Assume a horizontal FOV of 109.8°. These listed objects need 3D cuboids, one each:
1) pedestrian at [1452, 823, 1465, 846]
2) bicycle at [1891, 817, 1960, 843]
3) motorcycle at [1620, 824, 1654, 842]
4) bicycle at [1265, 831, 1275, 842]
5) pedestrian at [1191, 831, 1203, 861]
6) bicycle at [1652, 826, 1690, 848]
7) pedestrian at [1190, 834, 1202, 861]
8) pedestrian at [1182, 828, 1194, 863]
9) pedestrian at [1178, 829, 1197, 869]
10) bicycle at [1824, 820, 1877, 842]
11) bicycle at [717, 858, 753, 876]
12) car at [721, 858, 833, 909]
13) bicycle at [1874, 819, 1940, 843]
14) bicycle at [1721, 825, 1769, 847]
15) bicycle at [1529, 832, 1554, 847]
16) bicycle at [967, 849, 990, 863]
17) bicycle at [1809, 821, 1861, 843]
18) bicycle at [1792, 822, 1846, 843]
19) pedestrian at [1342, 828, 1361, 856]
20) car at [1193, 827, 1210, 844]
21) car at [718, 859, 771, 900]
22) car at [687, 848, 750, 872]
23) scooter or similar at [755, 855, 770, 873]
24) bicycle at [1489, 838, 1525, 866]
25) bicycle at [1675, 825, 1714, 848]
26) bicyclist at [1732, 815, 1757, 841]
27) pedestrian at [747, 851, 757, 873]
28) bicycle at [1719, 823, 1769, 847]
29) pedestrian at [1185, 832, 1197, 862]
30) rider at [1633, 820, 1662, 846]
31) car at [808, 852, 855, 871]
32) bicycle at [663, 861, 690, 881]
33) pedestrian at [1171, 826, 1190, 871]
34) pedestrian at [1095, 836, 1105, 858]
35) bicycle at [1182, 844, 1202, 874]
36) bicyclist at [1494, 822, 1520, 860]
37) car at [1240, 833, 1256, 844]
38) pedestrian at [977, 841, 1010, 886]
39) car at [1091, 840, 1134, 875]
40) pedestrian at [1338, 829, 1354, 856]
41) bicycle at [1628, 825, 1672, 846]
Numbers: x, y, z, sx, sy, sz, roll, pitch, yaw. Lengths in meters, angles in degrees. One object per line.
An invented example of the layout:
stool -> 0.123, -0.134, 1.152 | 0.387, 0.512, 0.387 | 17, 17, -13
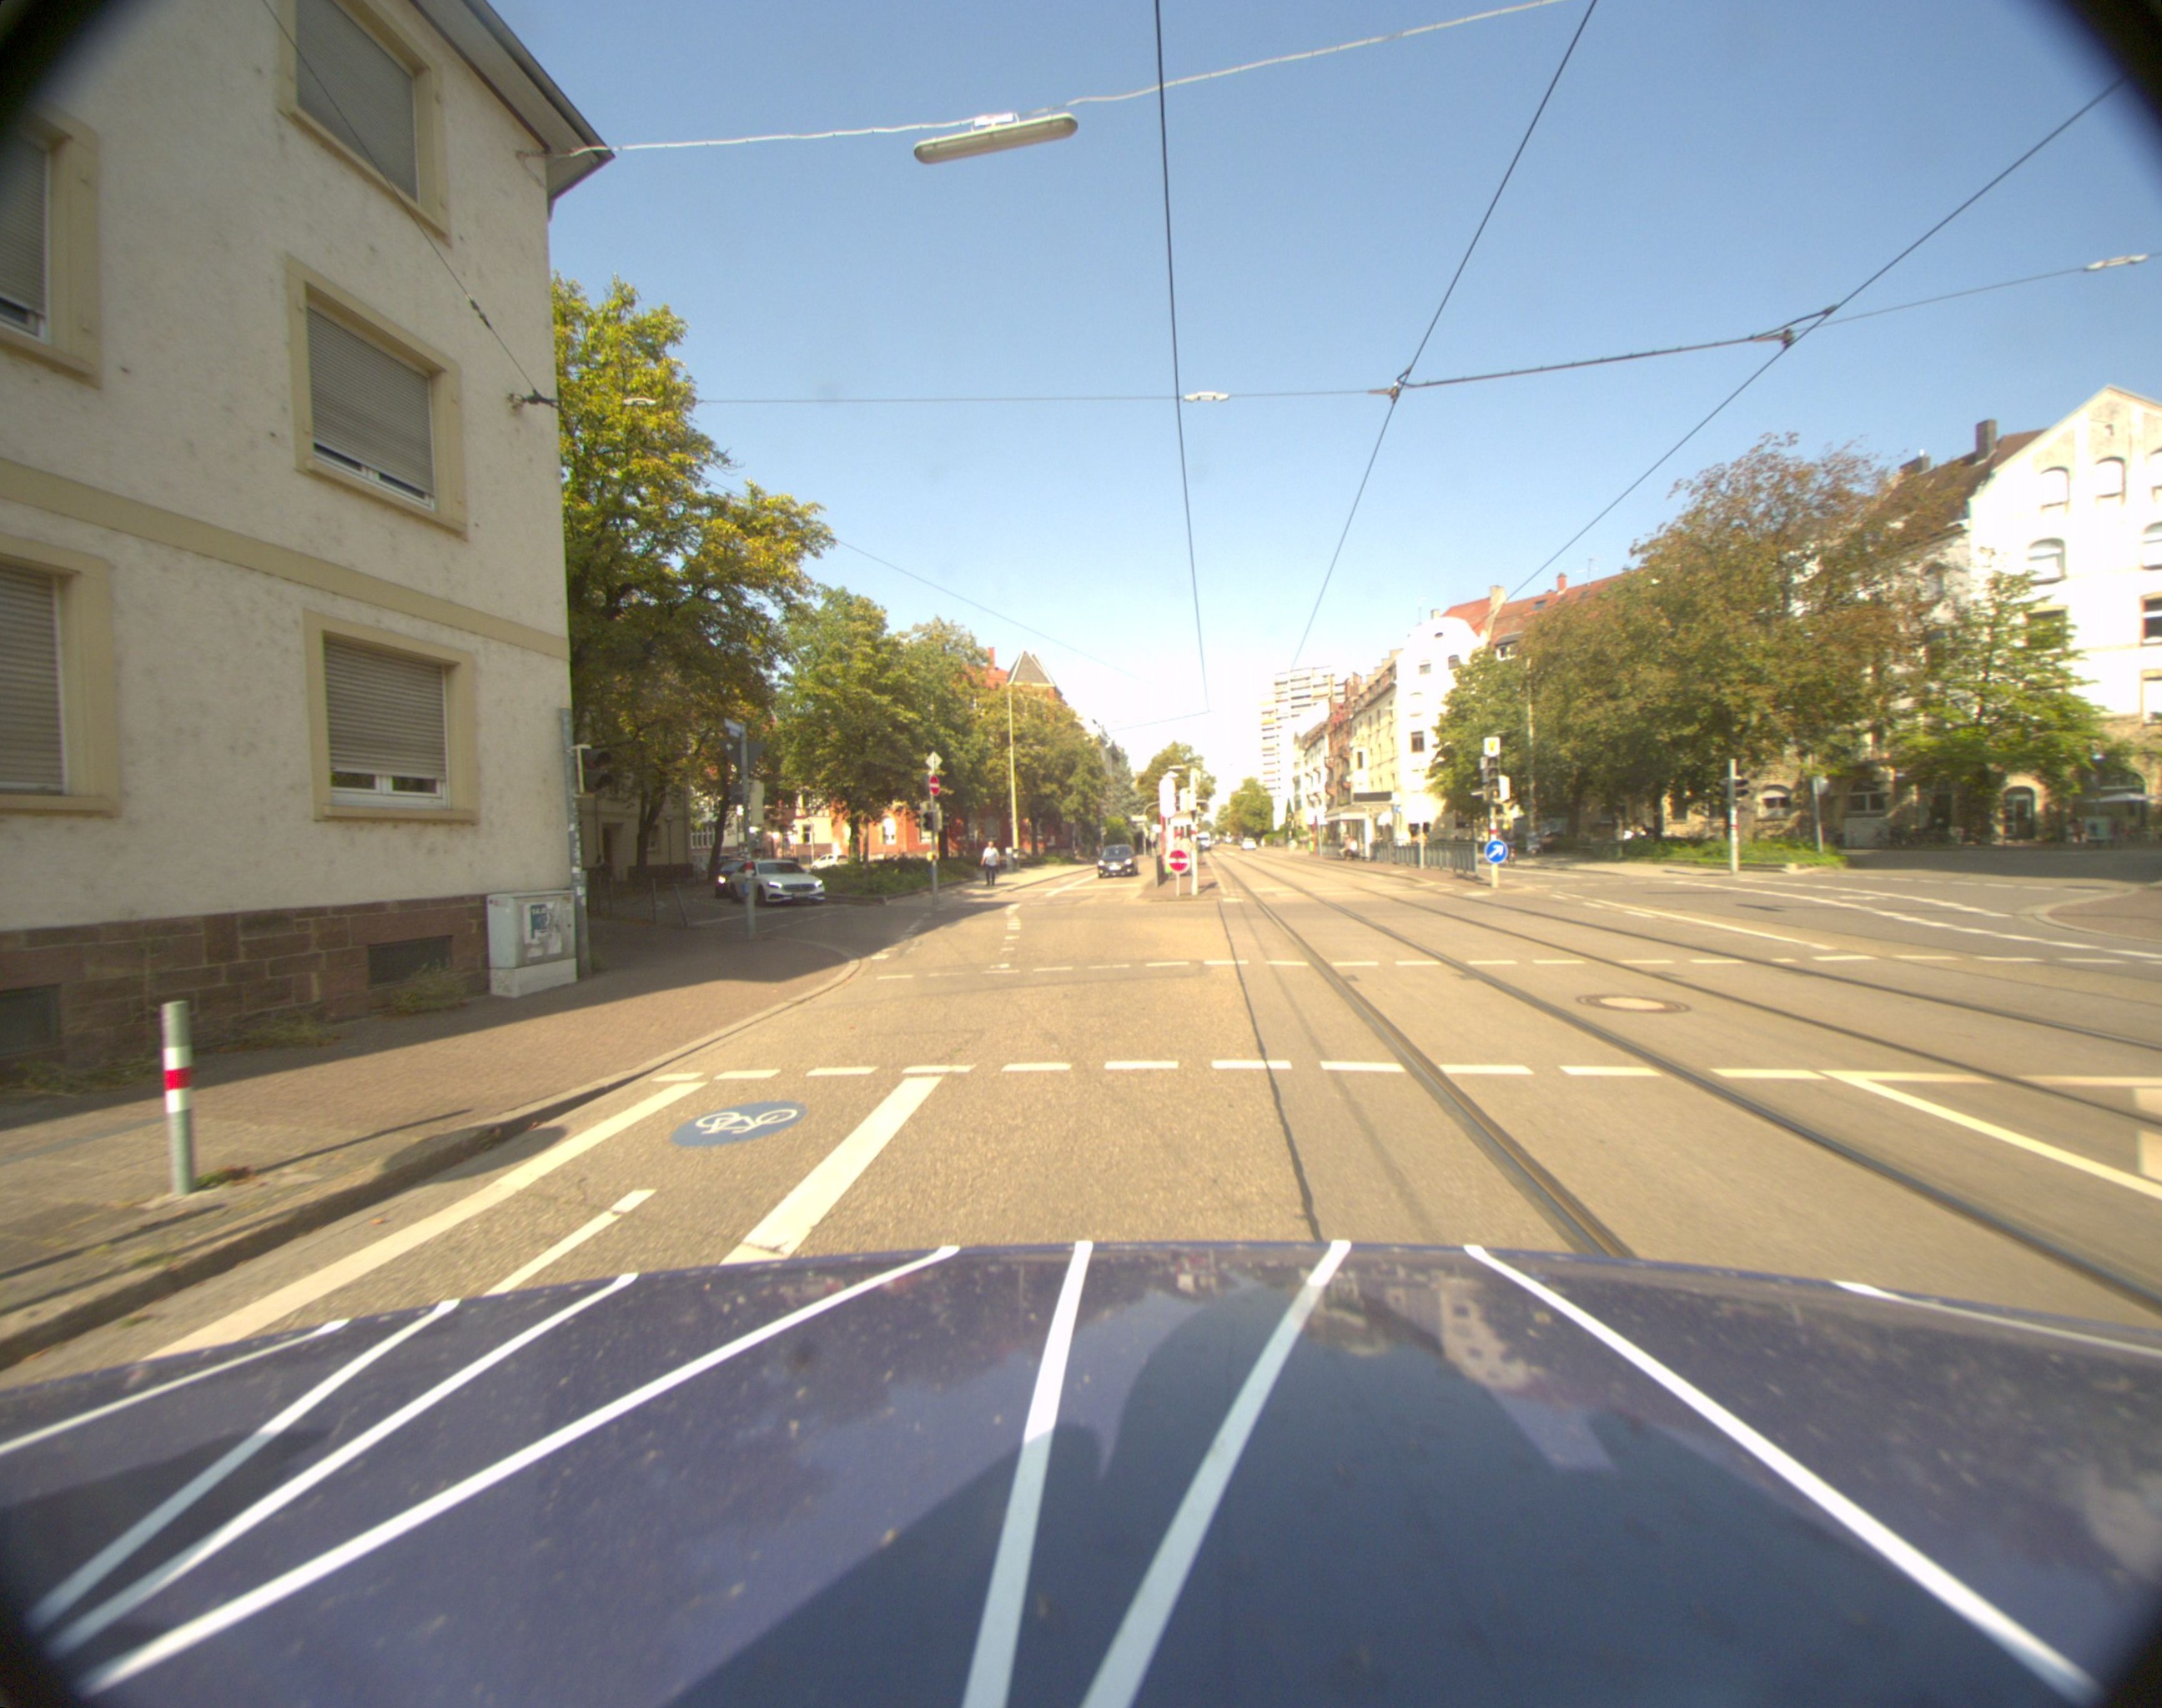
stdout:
pedestrian -> 32.103, -1.650, 64.610 | 0.735, 1.857, 0.673 | -2, 2, 5
bicycle -> 39.353, -1.114, 35.431 | 2.088, 1.097, 0.657 | -2, 2, 17
motorcycle -> 38.066, -1.428, 51.993 | 1.883, 1.171, 0.677 | -3, 2, -6
bicycle -> 34.002, -3.139, 136.680 | 1.015, 1.848, 3.555 | -4, 1, 3
pedestrian -> 6.684, -0.476, 43.835 | 0.590, 1.711, 0.607 | -2, 2, 11
bicycle -> 38.653, -1.144, 49.800 | 2.305, 1.363, 0.866 | -2, 2, -20
pedestrian -> 6.549, -0.379, 43.206 | 0.590, 1.536, 0.607 | -2, 2, 11
pedestrian -> 5.348, -0.427, 37.900 | 0.553, 1.750, 0.533 | -2, 2, 8
pedestrian -> 4.744, -0.237, 33.895 | 0.769, 1.750, 0.681 | -2, 2, 8
bicycle -> 40.846, -1.212, 40.385 | 0.656, 1.097, 2.334 | -2, 1, 6
bicycle -> -21.635, 0.807, 47.524 | 1.868, 1.052, 0.608 | -2, 2, -1
car -> -9.972, 0.884, 24.686 | 1.880, 1.460, 4.940 | 0, 0, -41
bicycle -> 39.695, -1.096, 36.537 | 2.088, 1.097, 0.657 | -2, 2, 17
bicycle -> 35.025, -0.938, 40.106 | 0.655, 1.097, 2.071 | -2, 1, -2
bicycle -> 35.006, -1.131, 57.787 | 2.345, 1.073, 0.695 | -3, 2, -34
bicycle -> -8.751, 0.169, 64.932 | 1.842, 1.052, 0.607 | -4, 0, -40
bicycle -> 40.079, -1.174, 40.440 | 0.656, 1.097, 2.334 | -2, 1, 6
bicycle -> 39.320, -1.141, 40.515 | 0.773, 1.097, 2.334 | -2, 1, 6
pedestrian -> 14.244, -0.623, 39.969 | 0.794, 1.448, 0.718 | -2, 2, 10
car -> 17.514, -2.711, 110.179 | 2.085, 2.264, 4.831 | -2, 1, 13
car -> -13.254, 0.940, 29.833 | 1.754, 1.443, 3.881 | -1, 0, -26
car -> -28.115, 0.435, 59.053 | 1.658, 1.629, 4.202 | -1, 1, 29
scooter or similar -> -20.860, 0.686, 49.717 | 1.110, 1.151, 0.443 | -1, 2, 44
bicycle -> 18.107, -0.109, 32.324 | 0.685, 1.097, 2.070 | -2, 1, 11
bicycle -> 38.910, -1.089, 48.207 | 2.305, 1.363, 0.866 | -2, 2, -20
bicyclist -> 35.007, -1.369, 40.105 | 0.655, 1.352, 0.758 | -2, 2, -2
pedestrian -> -26.503, 0.668, 61.233 | 0.656, 1.754, 0.605 | -3, 2, -29
bicycle -> 39.628, -1.112, 45.415 | 2.302, 1.363, 0.867 | -2, 1, -3
pedestrian -> 6.571, -0.432, 45.280 | 0.638, 1.738, 0.634 | -2, 2, 11
rider -> 33.325, -1.229, 44.704 | 0.996, 1.503, 1.115 | -3, 2, 13
car -> -22.115, 0.677, 67.249 | 3.989, 1.558, 1.625 | -1, 1, 30
bicycle -> -22.997, 0.974, 43.238 | 0.416, 1.054, 1.489 | -1, 2, 13
pedestrian -> 4.017, -0.216, 30.594 | 0.691, 1.756, 0.796 | -2, 2, 8
pedestrian -> 1.535, -0.558, 61.415 | 0.542, 1.708, 0.662 | -1, 2, 24
bicycle -> 4.456, 0.185, 30.446 | 0.473, 1.097, 1.739 | -1, 1, 17
bicyclist -> 18.078, -0.554, 32.255 | 0.674, 1.605, 1.045 | -2, 2, 11
car -> 23.443, -2.187, 106.723 | 1.732, 1.426, 3.922 | -2, 1, 6
pedestrian -> -3.417, 0.366, 29.763 | 1.079, 1.715, 0.970 | 1, 2, 8
car -> 1.556, 0.107, 35.829 | 1.775, 1.460, 4.001 | -3, 1, 5
pedestrian -> 14.326, -0.638, 41.052 | 0.678, 1.448, 0.718 | -2, 2, 10
bicycle -> 38.255, -1.238, 51.085 | 2.302, 1.363, 0.867 | -2, 1, -2
